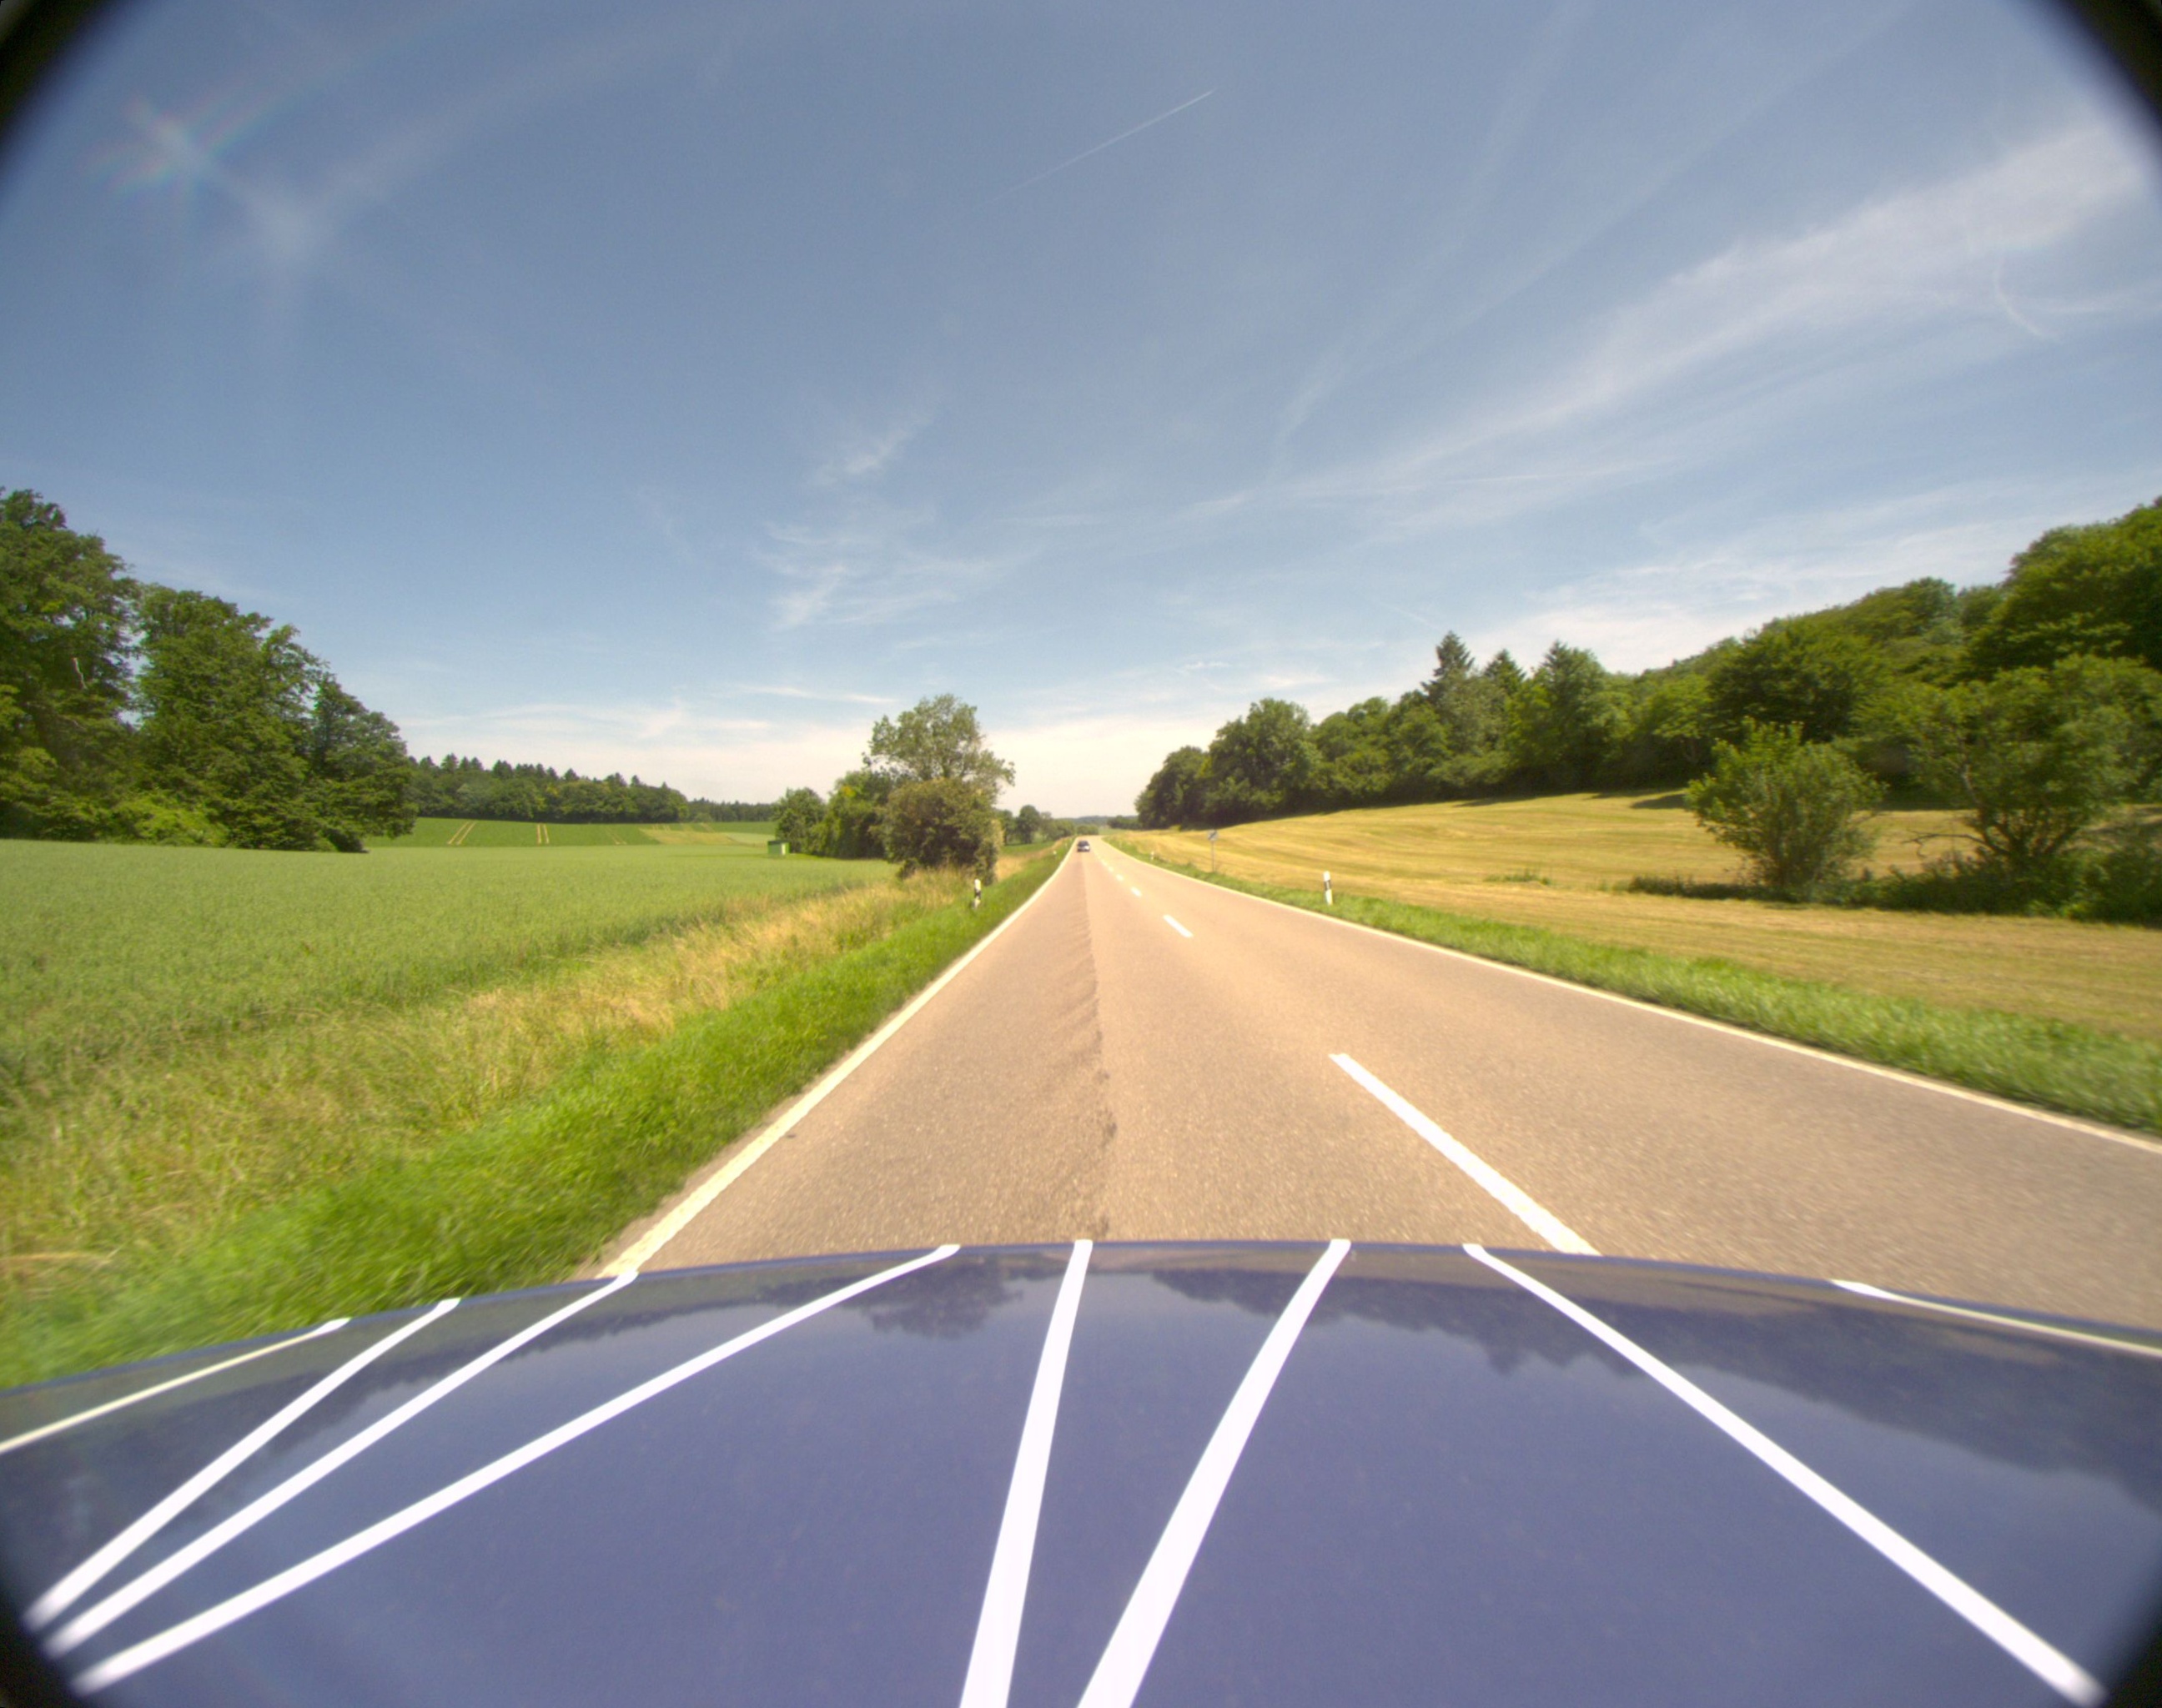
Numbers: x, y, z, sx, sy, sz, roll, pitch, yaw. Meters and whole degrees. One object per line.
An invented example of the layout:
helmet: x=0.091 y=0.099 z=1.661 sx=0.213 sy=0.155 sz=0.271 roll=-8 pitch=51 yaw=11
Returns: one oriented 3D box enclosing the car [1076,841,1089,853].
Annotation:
car: x=0.228 y=-1.039 z=110.290 sx=1.815 sy=1.569 sz=4.154 roll=-2 pitch=-1 yaw=1
